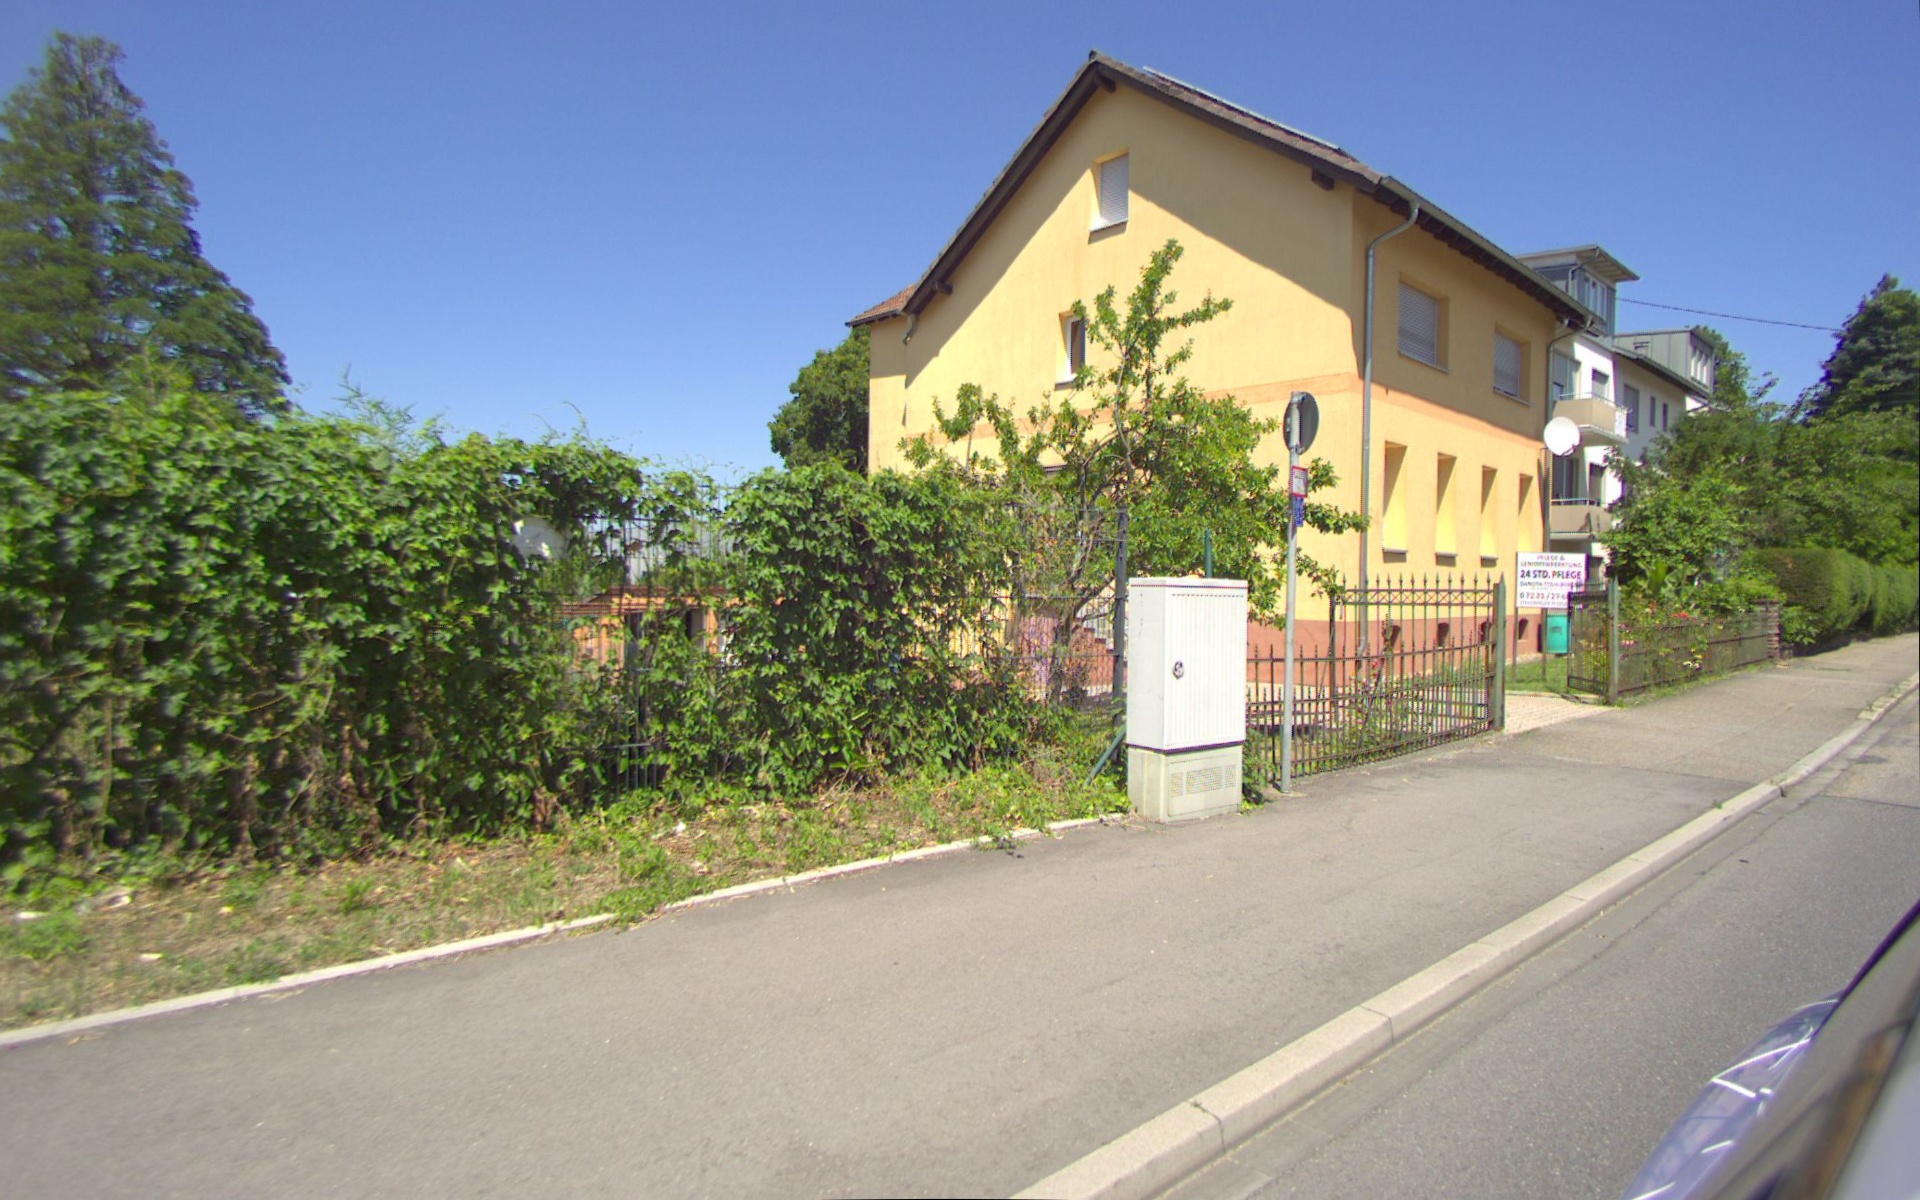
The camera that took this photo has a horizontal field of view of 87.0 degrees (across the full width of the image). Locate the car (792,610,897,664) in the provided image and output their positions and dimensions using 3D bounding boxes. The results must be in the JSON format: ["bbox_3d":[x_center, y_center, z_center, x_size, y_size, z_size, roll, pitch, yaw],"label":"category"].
[{"bbox_3d":[-4.043,1.214,34.967,1.850,1.709,3.998,1,0,-37],"label":"car"}]
